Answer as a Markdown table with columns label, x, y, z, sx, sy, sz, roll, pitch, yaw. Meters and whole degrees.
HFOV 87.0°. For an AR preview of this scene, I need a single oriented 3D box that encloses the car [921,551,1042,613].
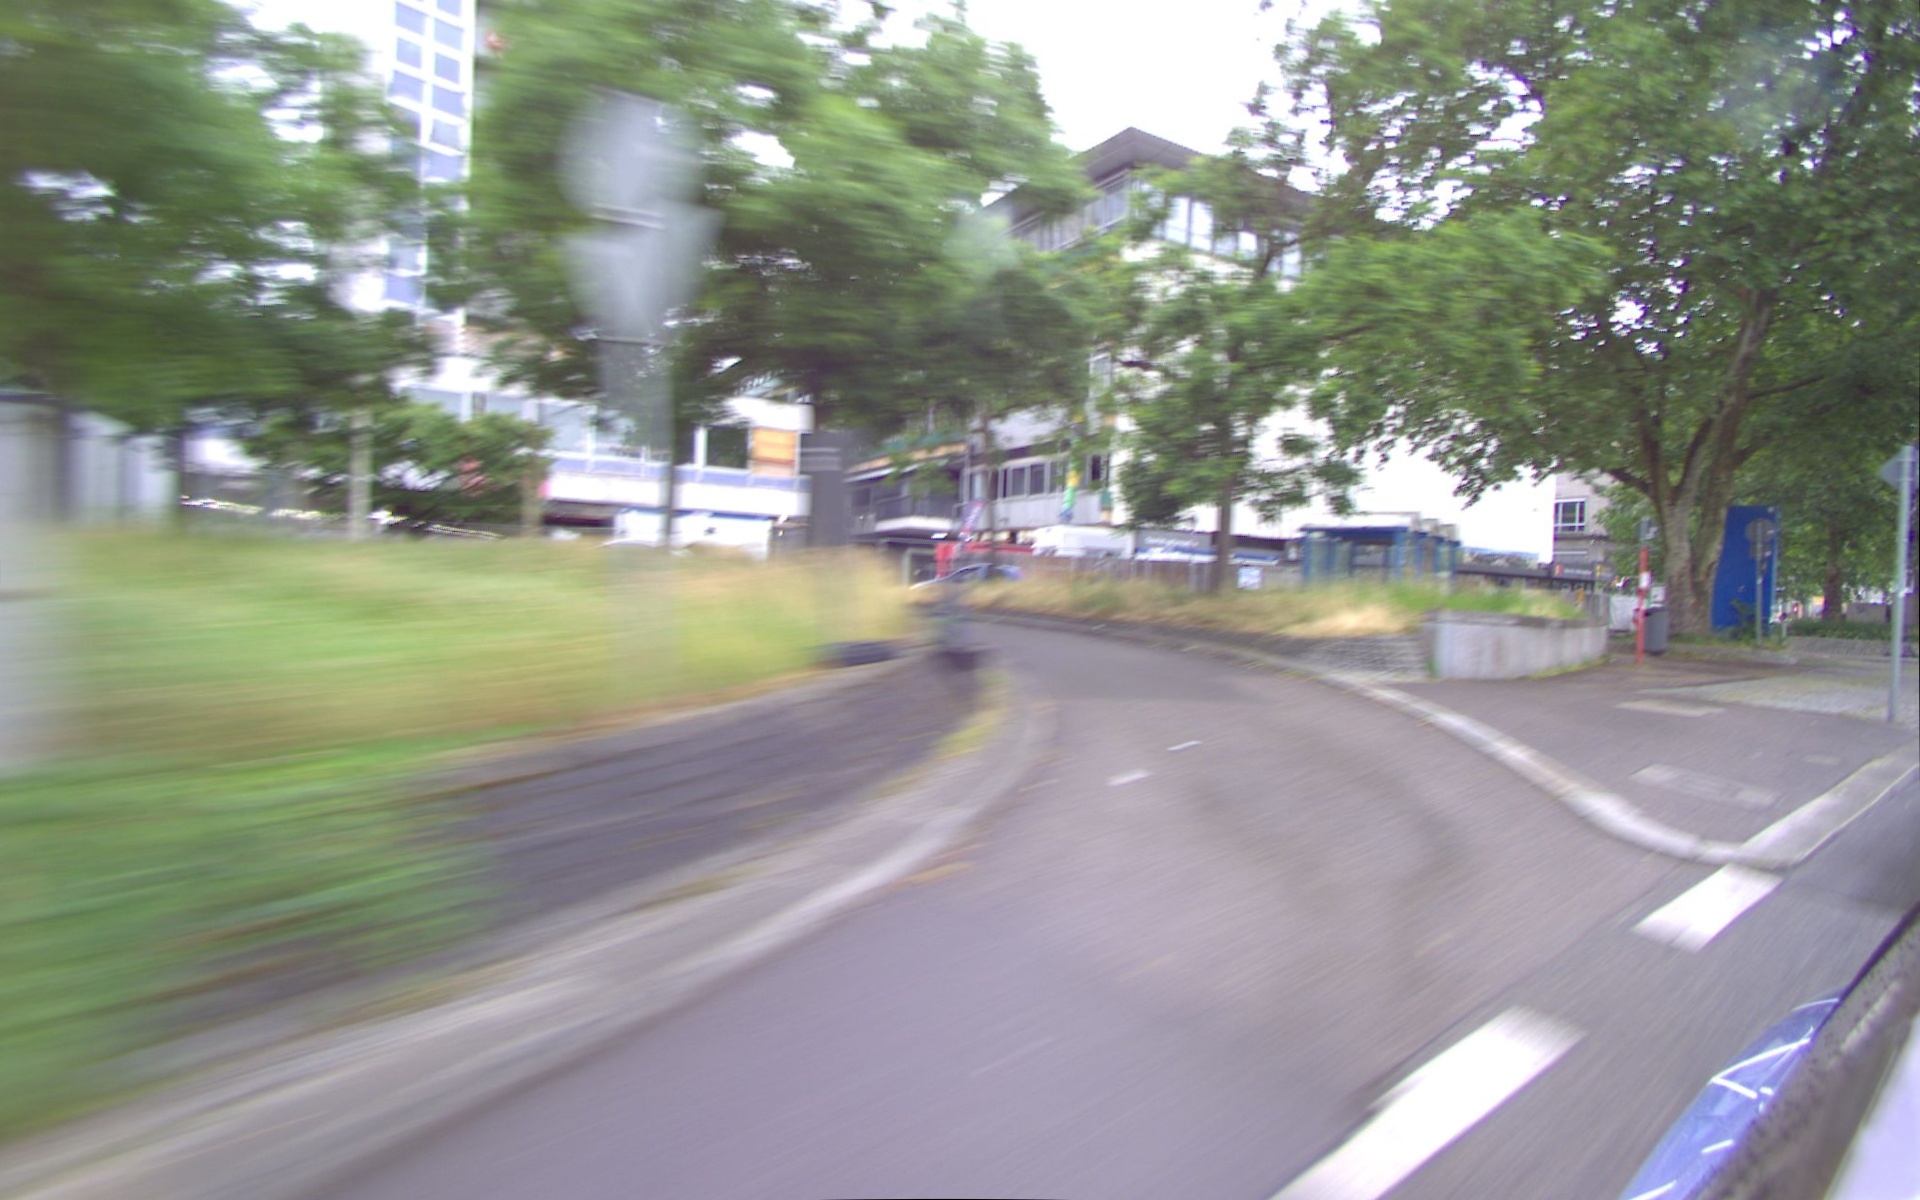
| label | x | y | z | sx | sy | sz | roll | pitch | yaw |
| --- | --- | --- | --- | --- | --- | --- | --- | --- | --- |
| car | 0.669 | -0.550 | 29.651 | 3.286 | 1.610 | 1.790 | 3 | 1 | 10 |

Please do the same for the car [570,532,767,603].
| label | x | y | z | sx | sy | sz | roll | pitch | yaw |
| --- | --- | --- | --- | --- | --- | --- | --- | --- | --- |
| car | -7.800 | -0.888 | 27.226 | 4.687 | 1.649 | 1.993 | 3 | 1 | 12 |
